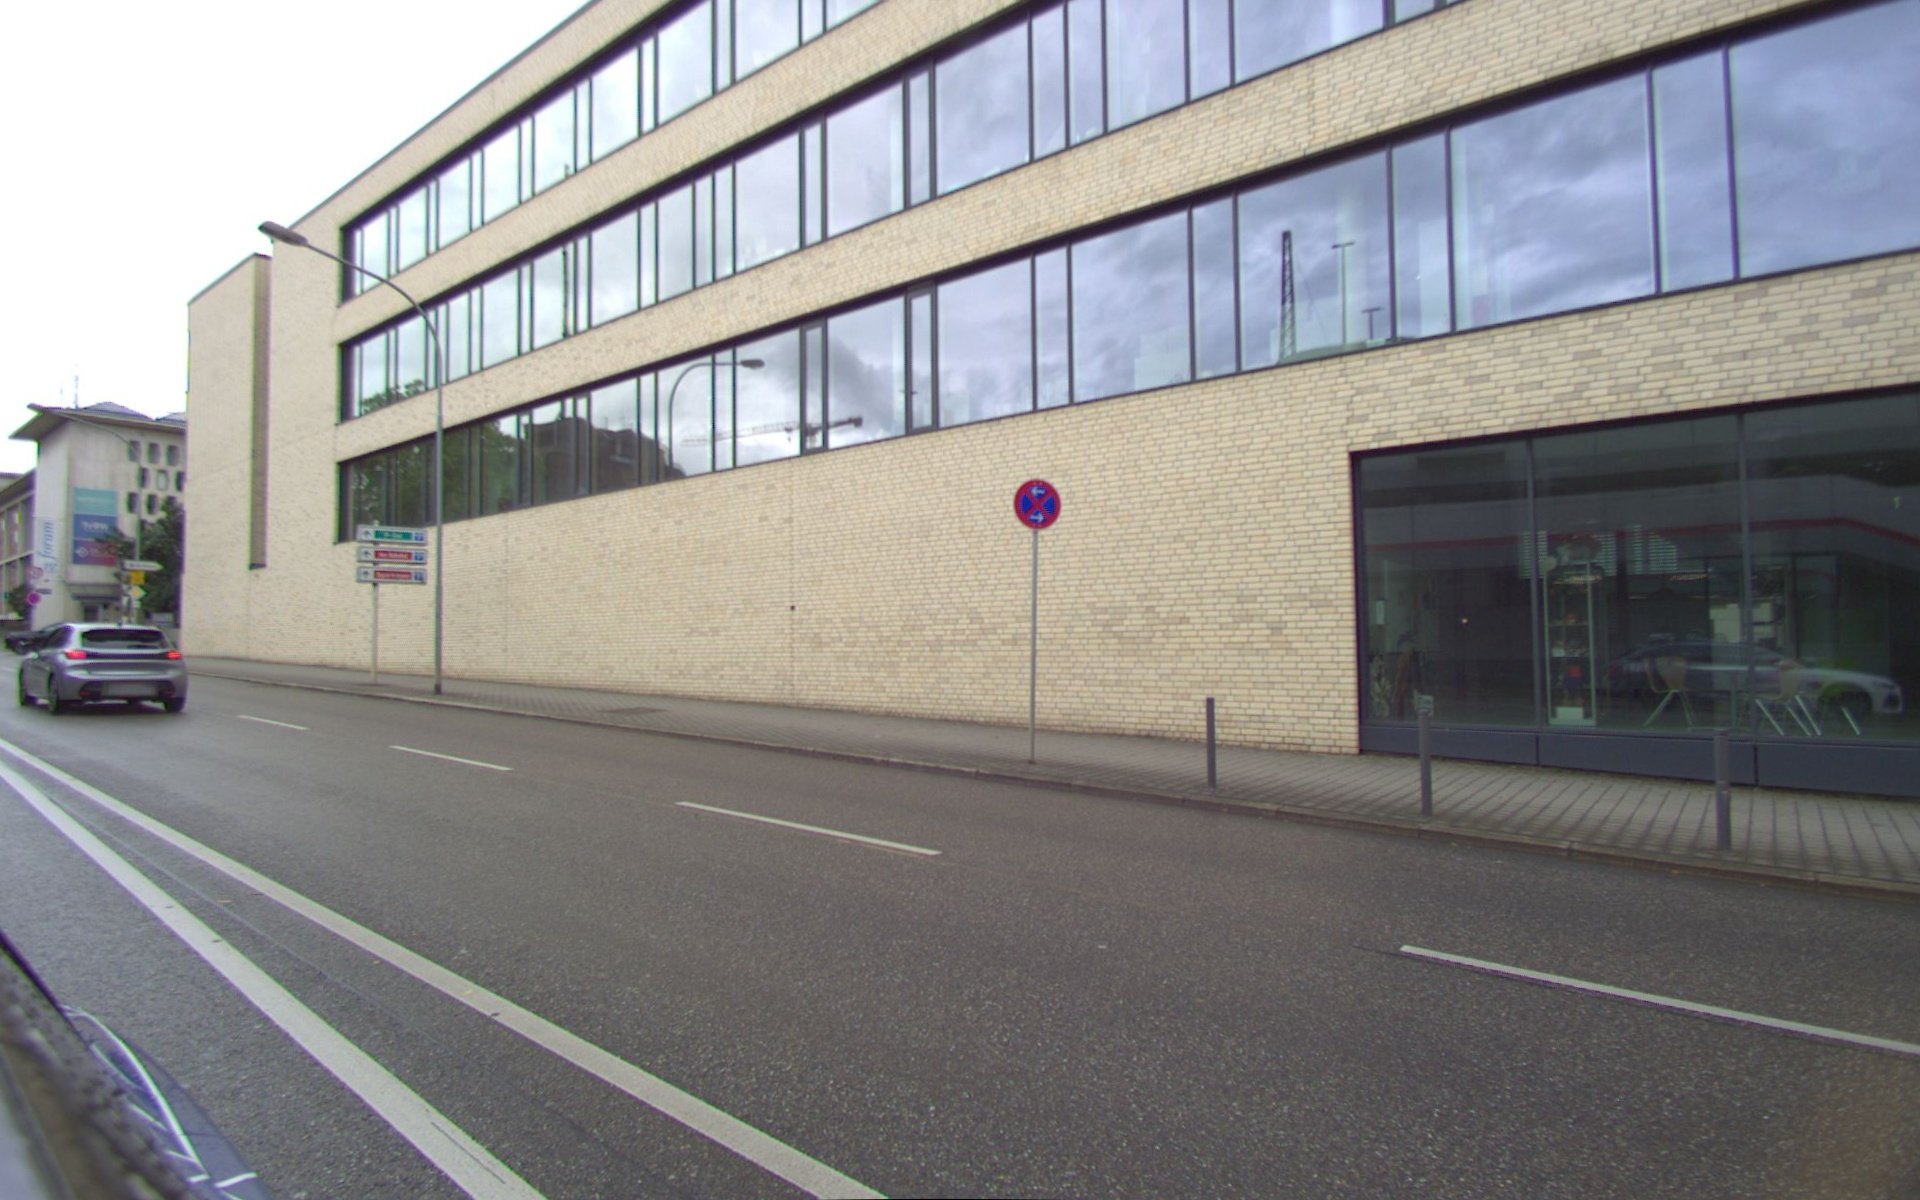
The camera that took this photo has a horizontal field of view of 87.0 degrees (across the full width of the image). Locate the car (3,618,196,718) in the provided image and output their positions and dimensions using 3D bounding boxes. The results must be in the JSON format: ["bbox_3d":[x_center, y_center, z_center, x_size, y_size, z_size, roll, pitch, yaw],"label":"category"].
[{"bbox_3d":[-14.422,1.069,16.906,3.878,1.481,1.724,-1,-3,39],"label":"car"}]

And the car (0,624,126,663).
[{"bbox_3d":[-40.926,1.942,46.289,3.930,1.674,1.867,0,-1,-23],"label":"car"}]
